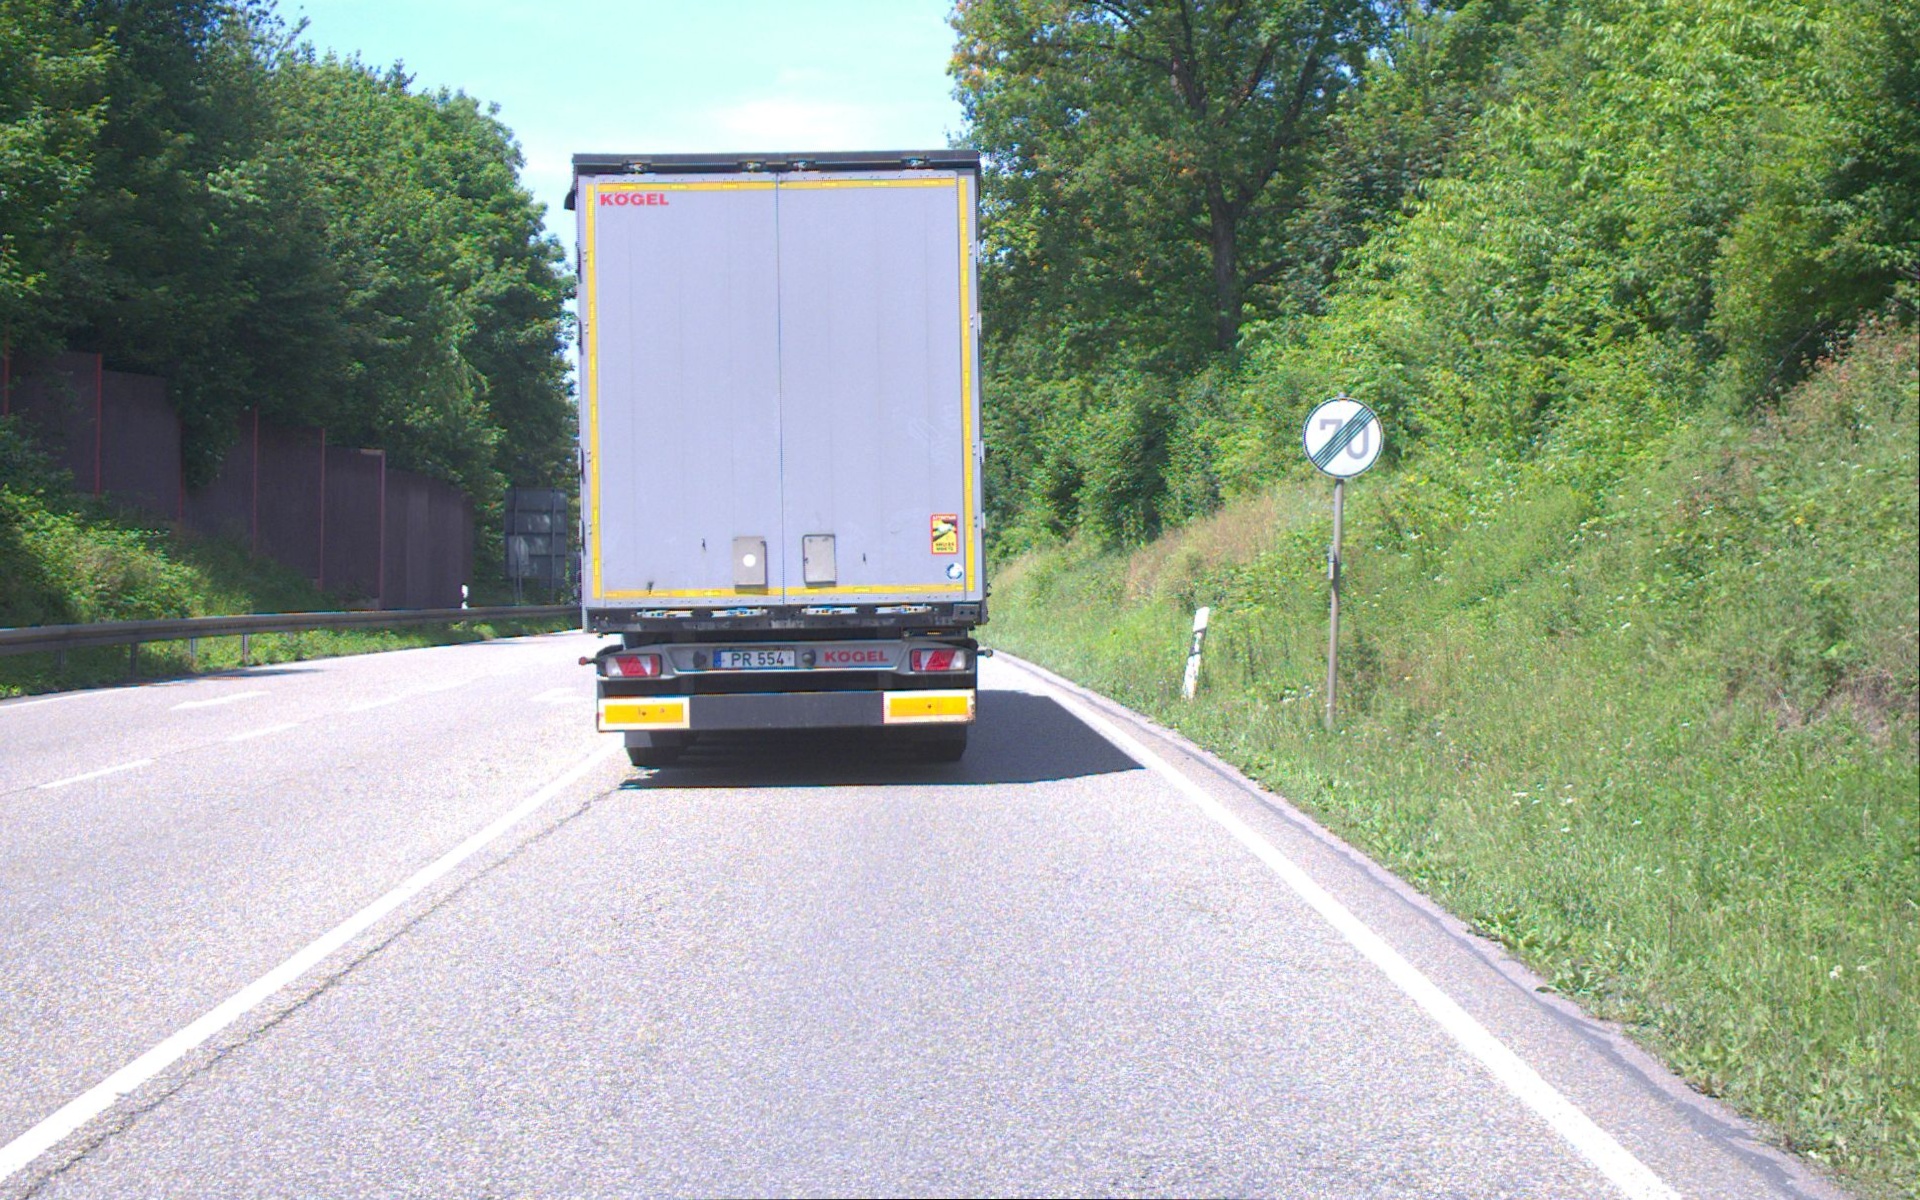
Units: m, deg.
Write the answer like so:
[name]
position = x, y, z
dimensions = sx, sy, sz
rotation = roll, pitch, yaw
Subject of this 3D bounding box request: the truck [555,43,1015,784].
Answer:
[truck]
position = -1.160, -1.236, 24.715
dimensions = 2.822, 4.588, 6.666
rotation = 0, 1, -1

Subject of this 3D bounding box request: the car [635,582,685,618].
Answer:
[car]
position = -12.614, -0.017, 144.470
dimensions = 1.805, 1.430, 3.872
rotation = -1, 1, -9
